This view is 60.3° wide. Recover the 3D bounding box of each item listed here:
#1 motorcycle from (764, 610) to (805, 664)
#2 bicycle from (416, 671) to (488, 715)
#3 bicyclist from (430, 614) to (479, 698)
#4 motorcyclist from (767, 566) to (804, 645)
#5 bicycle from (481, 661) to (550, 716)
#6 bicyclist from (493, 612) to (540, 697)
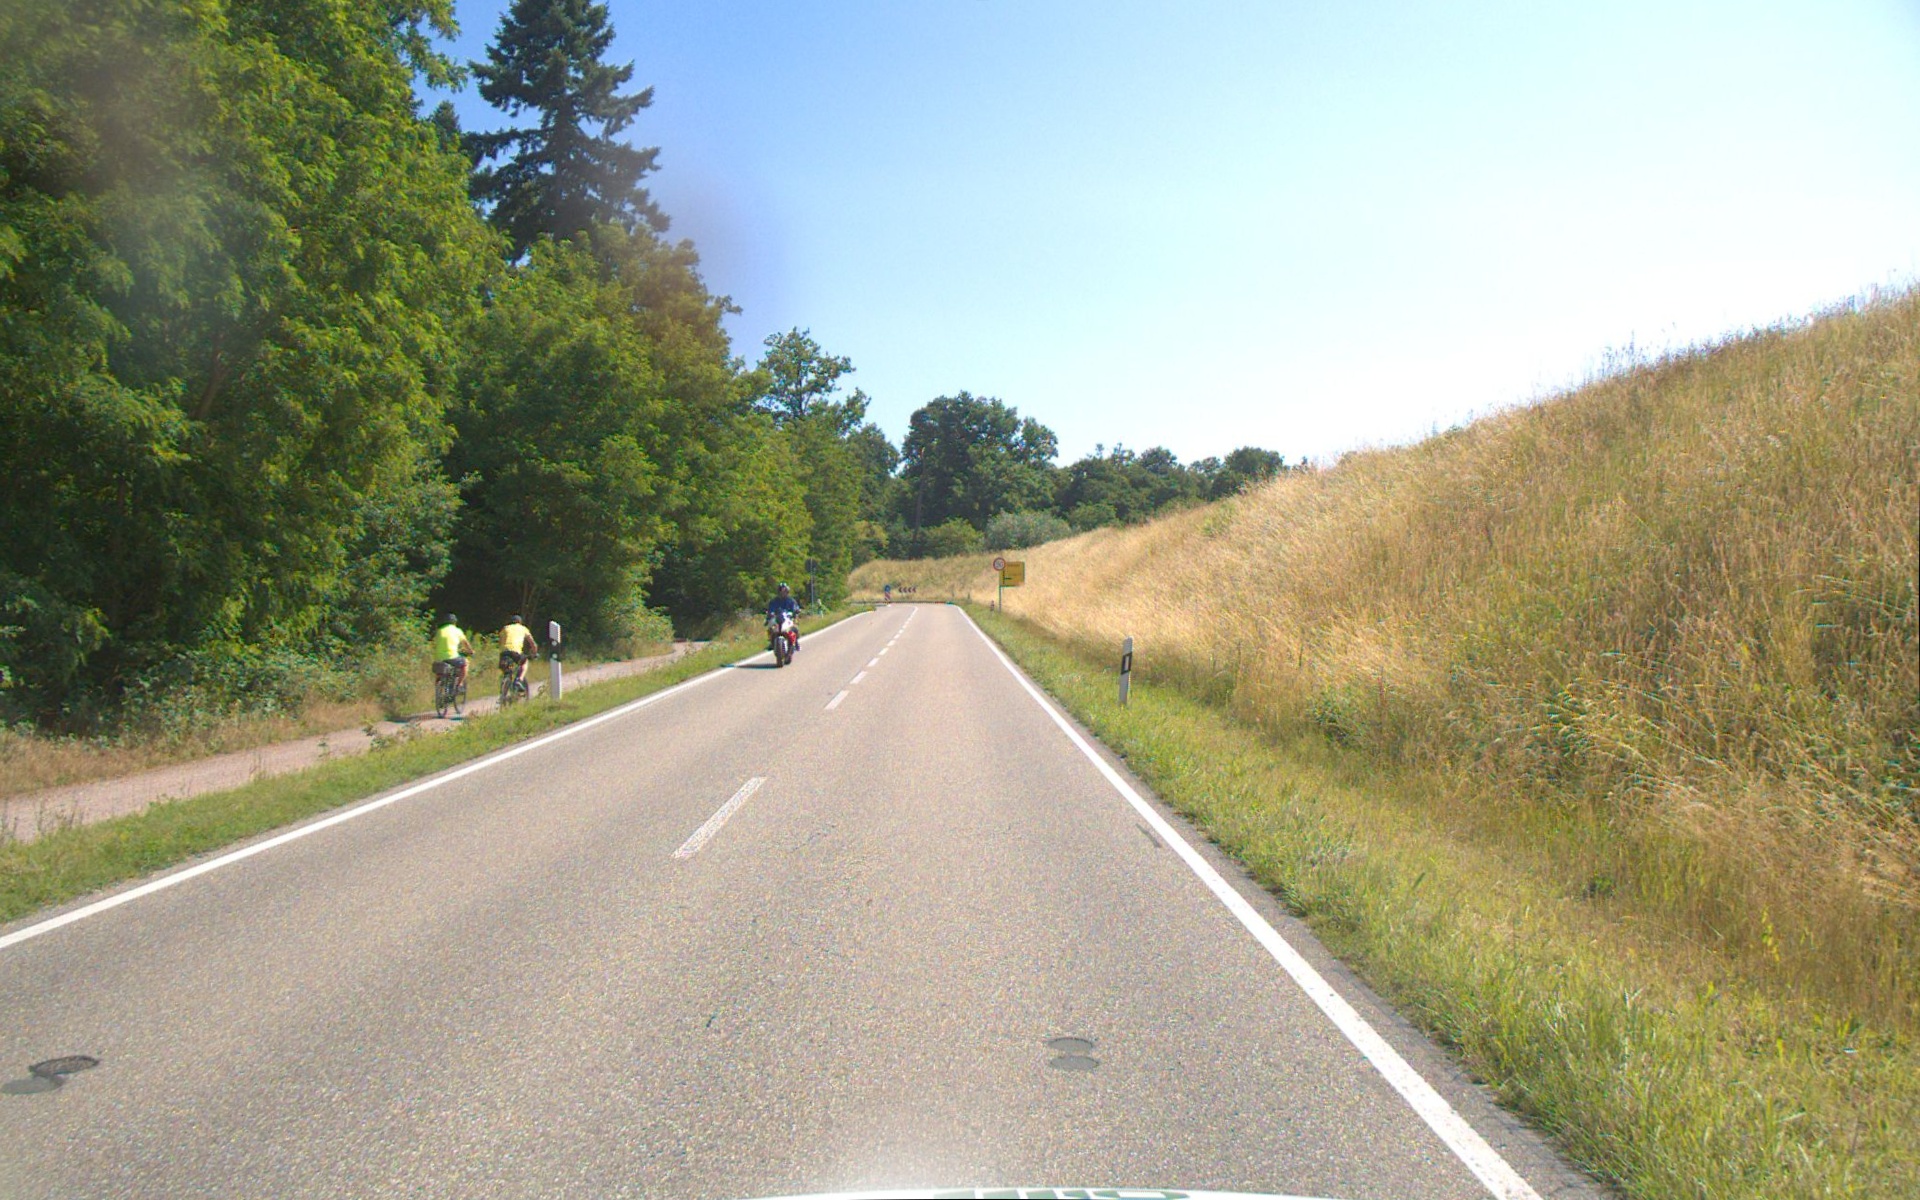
[{"bbox_3d":[-3.494,0.725,33.046,0.626,1.002,2.005,2,0,-2],"label":"motorcycle"},{"bbox_3d":[-8.890,1.617,29.023,0.606,0.693,2.136,1,-2,-1],"label":"bicycle"},{"bbox_3d":[-8.869,0.987,29.040,0.593,1.440,0.702,1,-2,-1],"label":"bicyclist"},{"bbox_3d":[-3.480,0.109,33.034,0.646,1.555,0.813,2,0,-3],"label":"motorcyclist"},{"bbox_3d":[-7.725,1.524,28.824,0.627,0.802,2.136,-2,0,-1],"label":"bicycle"},{"bbox_3d":[-7.753,0.937,28.922,0.593,1.440,0.702,-2,0,-1],"label":"bicyclist"}]
